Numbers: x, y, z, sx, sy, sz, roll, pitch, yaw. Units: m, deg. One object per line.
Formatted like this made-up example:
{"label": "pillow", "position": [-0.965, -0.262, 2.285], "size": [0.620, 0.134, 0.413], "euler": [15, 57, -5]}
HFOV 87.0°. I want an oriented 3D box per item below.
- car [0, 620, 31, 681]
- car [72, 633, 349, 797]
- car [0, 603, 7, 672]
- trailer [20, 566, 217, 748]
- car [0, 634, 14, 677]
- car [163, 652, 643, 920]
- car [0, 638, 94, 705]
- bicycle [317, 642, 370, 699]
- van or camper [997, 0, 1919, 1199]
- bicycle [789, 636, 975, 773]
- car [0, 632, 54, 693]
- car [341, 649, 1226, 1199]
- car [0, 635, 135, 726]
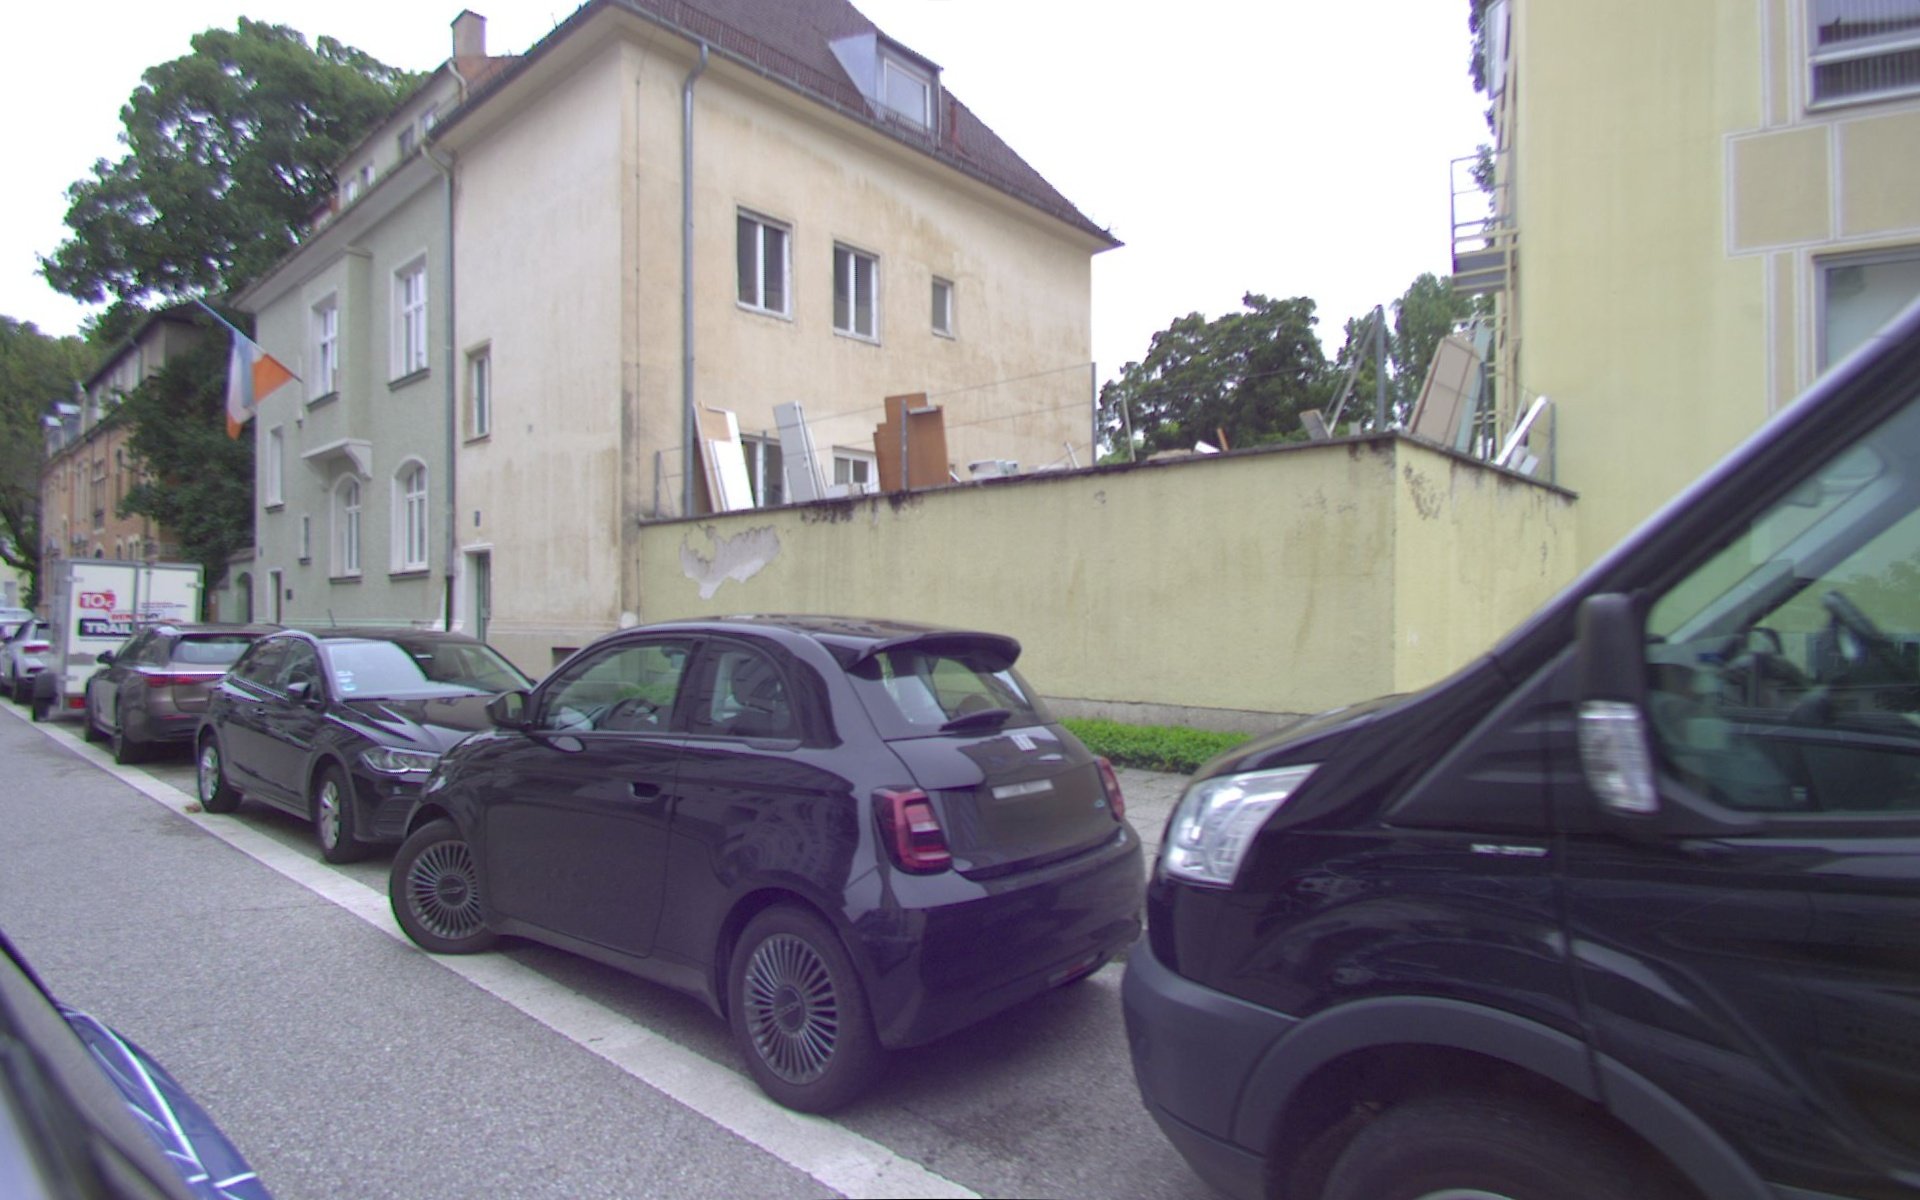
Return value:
{"label": "car", "position": [-29.962, 1.566, 31.047], "size": [4.248, 1.769, 1.697], "euler": [-3, -3, 41]}
{"label": "car", "position": [-9.139, 1.213, 12.140], "size": [5.092, 1.553, 1.843], "euler": [-3, -3, 44]}
{"label": "car", "position": [-37.595, 1.455, 38.051], "size": [5.229, 2.495, 2.089], "euler": [-3, -3, 41]}
{"label": "trailer", "position": [-13.556, 0.886, 16.204], "size": [1.953, 2.490, 4.579], "euler": [3, -4, -45]}
{"label": "car", "position": [-33.532, 1.904, 34.326], "size": [4.164, 1.431, 1.697], "euler": [-3, -3, 41]}
{"label": "car", "position": [-4.334, 1.134, 7.594], "size": [4.281, 1.447, 1.658], "euler": [-3, -3, 39]}
{"label": "car", "position": [-21.357, 1.594, 23.168], "size": [4.400, 1.378, 1.727], "euler": [-3, -3, 41]}
{"label": "bicycle", "position": [-12.693, 1.439, 20.826], "size": [1.522, 1.093, 0.455], "euler": [-2, 1, 41]}
{"label": "van or camper", "position": [2.889, 0.274, 1.262], "size": [5.561, 2.671, 2.268], "euler": [-3, -3, 43]}
{"label": "bicycle", "position": [-0.819, 0.998, 10.275], "size": [1.867, 1.243, 0.794], "euler": [-2, -1, 41]}
{"label": "car", "position": [-25.315, 1.617, 26.767], "size": [3.519, 1.479, 1.609], "euler": [-1, -1, 41]}
{"label": "car", "position": [-1.025, 0.987, 4.441], "size": [3.903, 1.508, 1.637], "euler": [-3, -3, 38]}
{"label": "car", "position": [-17.299, 1.476, 19.386], "size": [4.105, 1.542, 1.661], "euler": [-3, -3, 41]}
